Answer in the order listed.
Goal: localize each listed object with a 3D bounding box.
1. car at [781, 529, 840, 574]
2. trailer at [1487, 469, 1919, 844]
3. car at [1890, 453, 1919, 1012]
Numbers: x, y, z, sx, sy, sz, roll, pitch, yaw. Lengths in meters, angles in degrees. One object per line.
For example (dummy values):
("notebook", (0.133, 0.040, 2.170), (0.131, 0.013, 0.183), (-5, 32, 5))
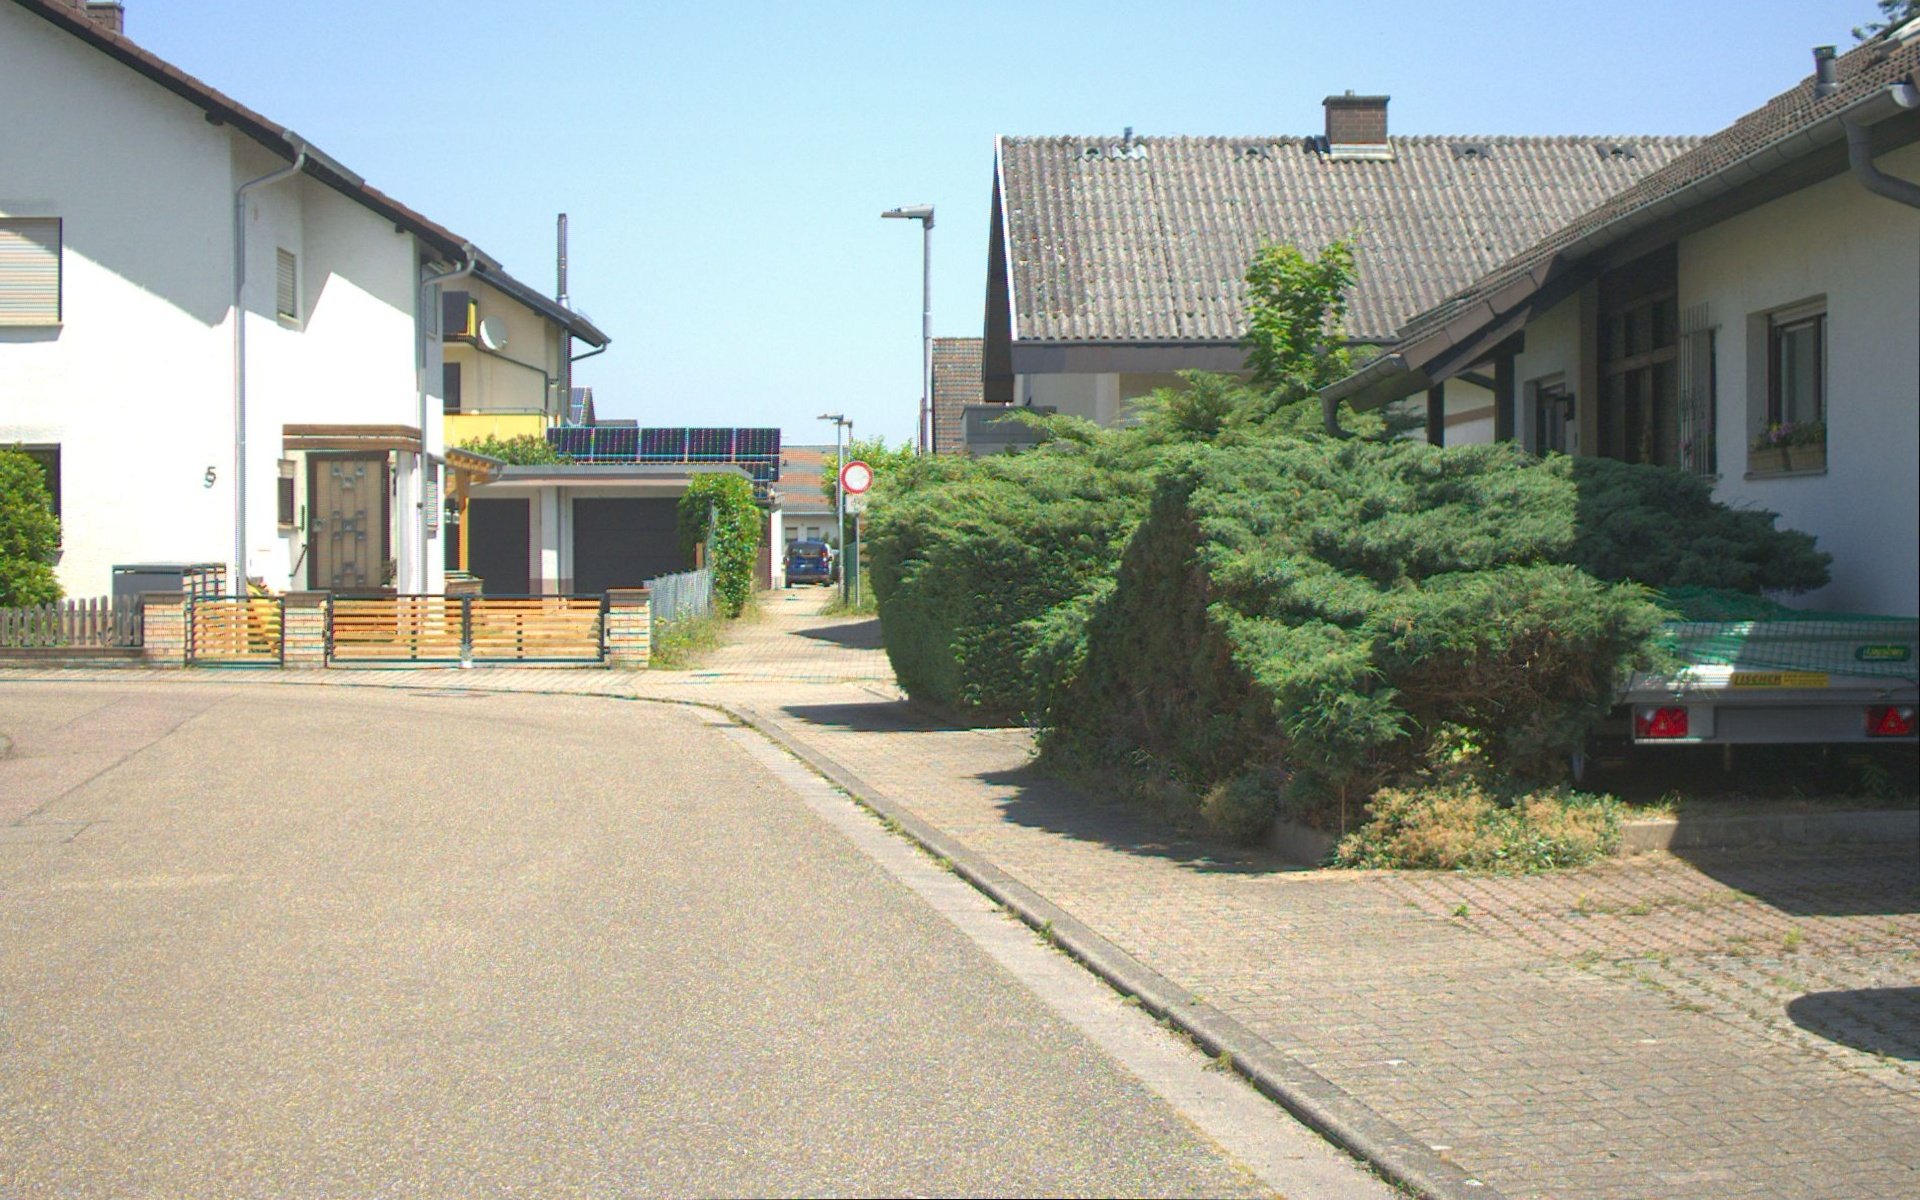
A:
("car", (-5.877, -1.915, 135.240), (2.193, 1.695, 3.807), (0, 1, -1))
("trailer", (3.737, 0.208, 17.293), (1.587, 1.666, 3.297), (-2, 2, -1))
("car", (5.187, 0.350, 9.714), (4.627, 1.696, 1.709), (-2, 1, 2))
